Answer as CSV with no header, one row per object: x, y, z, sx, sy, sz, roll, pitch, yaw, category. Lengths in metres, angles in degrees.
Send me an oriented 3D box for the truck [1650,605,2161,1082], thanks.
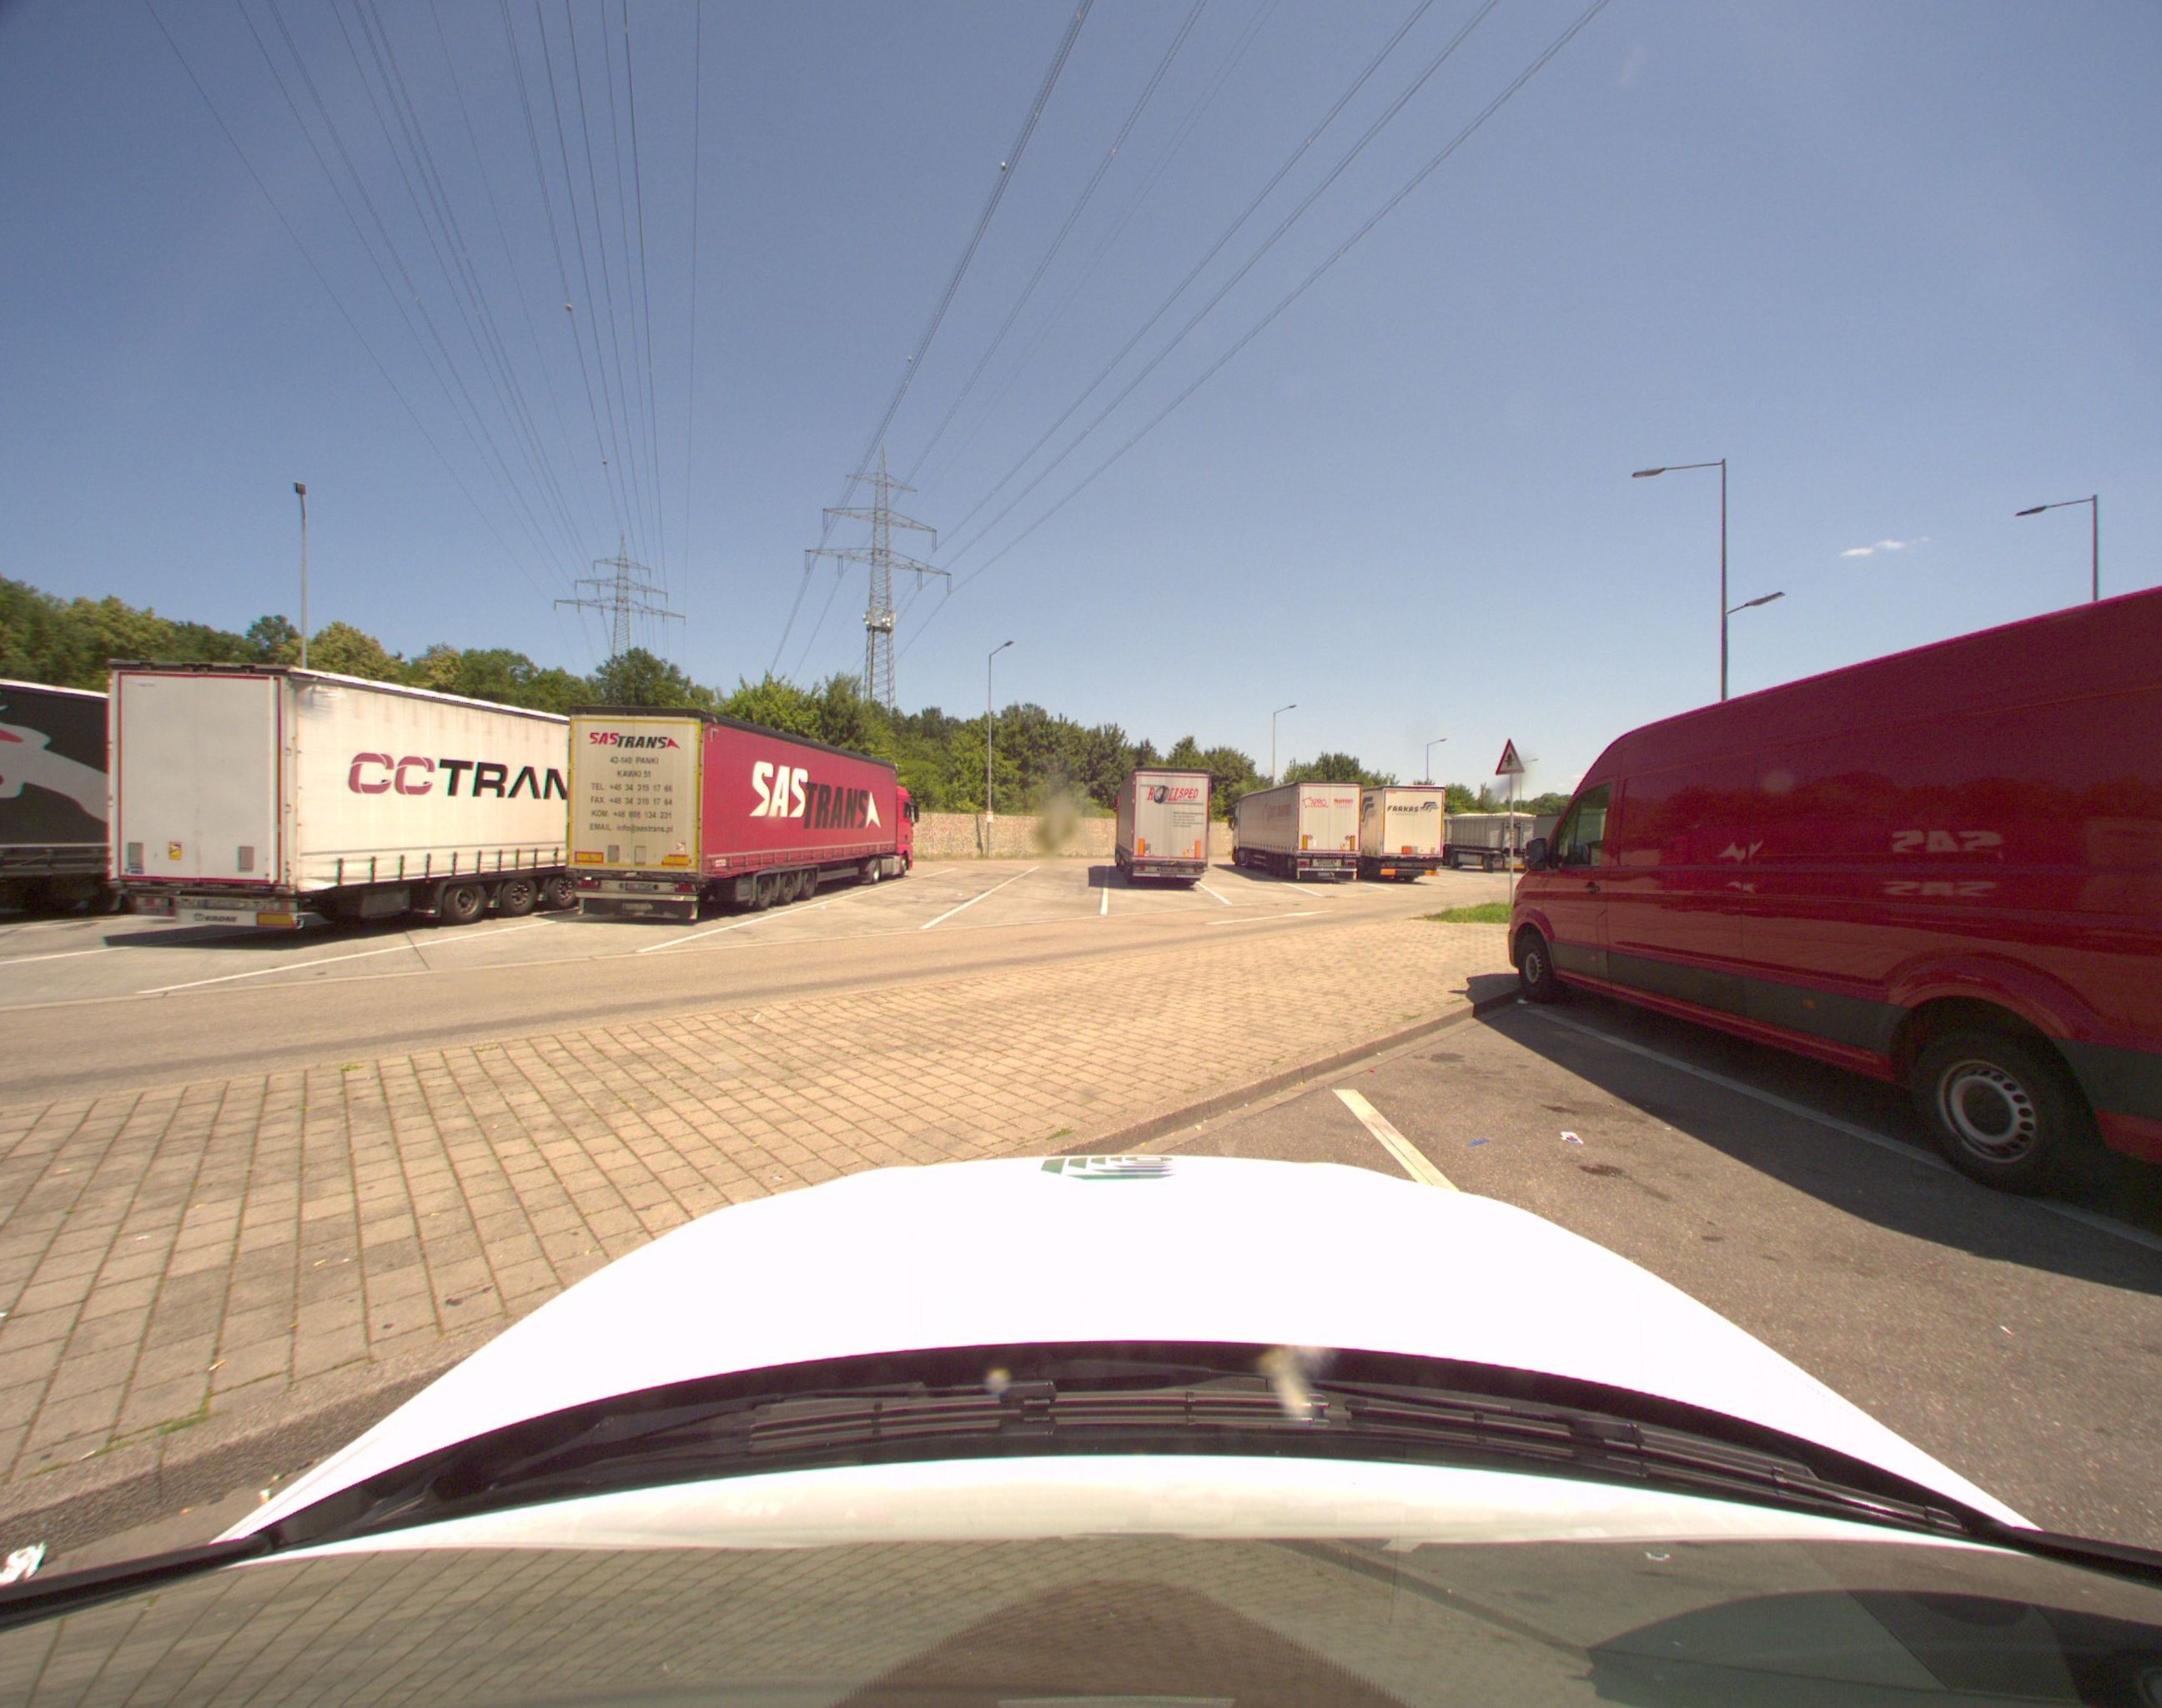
8.002,-0.069,6.884,2.406,2.906,6.466,-1,0,6,truck

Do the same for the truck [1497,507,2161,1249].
5.142,0.081,5.451,2.001,2.651,6.466,-1,0,6,truck

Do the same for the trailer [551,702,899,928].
-8.045,-0.926,21.726,2.811,4.070,13.770,1,2,2,trailer

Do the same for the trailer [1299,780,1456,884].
13.612,-1.092,39.222,2.847,4.109,13.770,1,2,2,trailer

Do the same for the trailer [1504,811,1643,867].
38.226,-1.291,64.176,2.847,3.904,13.770,1,2,2,trailer

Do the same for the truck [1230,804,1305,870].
10.182,-0.975,45.062,2.855,3.362,5.977,1,2,2,truck

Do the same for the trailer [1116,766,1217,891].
3.051,-1.047,33.208,2.848,3.971,13.767,1,2,1,trailer

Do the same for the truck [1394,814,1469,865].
24.631,-1.078,57.593,2.855,3.362,5.977,1,2,2,truck

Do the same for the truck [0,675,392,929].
-18.548,-0.938,15.831,2.696,4.070,8.694,1,2,2,truck

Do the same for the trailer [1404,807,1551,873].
24.445,-0.990,51.496,2.847,3.599,13.770,1,2,2,trailer

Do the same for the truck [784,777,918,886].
-7.830,-0.793,28.543,2.801,3.362,5.977,1,2,2,truck

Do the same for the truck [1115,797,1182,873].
3.142,-0.937,39.410,2.855,3.362,5.977,1,2,2,truck

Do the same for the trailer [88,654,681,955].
-12.160,-0.841,16.423,2.696,4.101,10.395,1,2,2,trailer

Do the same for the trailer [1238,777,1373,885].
9.983,-1.118,38.298,2.847,4.109,13.770,1,2,2,trailer
